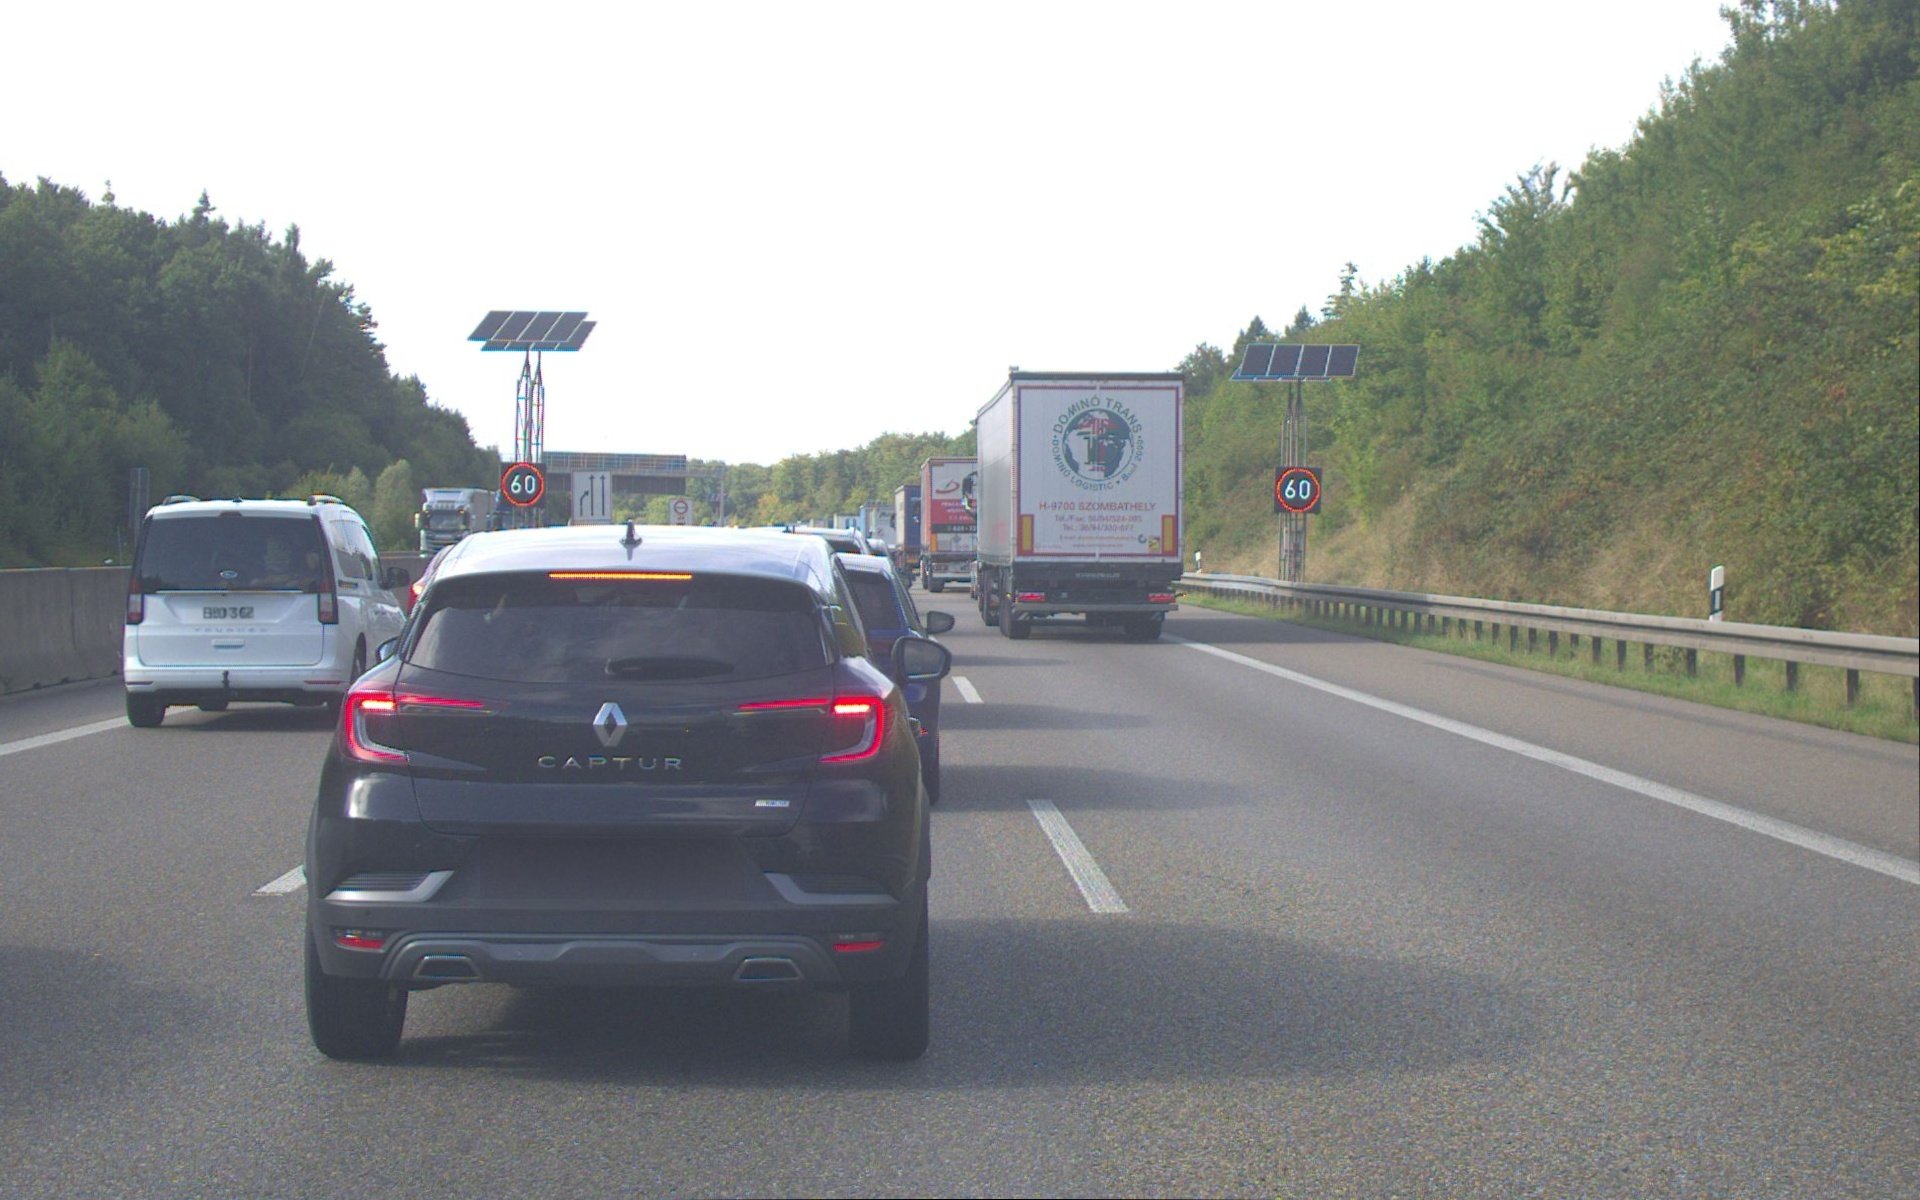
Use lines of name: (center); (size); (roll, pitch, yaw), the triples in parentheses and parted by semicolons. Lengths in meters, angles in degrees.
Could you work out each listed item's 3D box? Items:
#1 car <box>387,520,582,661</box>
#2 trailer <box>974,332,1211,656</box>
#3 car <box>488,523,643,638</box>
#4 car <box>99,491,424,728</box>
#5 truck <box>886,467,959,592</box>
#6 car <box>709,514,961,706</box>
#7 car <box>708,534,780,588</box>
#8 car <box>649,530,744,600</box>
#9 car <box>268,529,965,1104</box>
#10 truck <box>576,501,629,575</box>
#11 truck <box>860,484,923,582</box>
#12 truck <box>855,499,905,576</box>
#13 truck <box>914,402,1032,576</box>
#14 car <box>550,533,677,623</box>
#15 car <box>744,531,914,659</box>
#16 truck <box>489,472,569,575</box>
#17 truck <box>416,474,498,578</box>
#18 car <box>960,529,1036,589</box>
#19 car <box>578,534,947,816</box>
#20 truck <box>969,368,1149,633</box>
car: (-5.815, -0.128, 42.442); (1.855, 1.635, 3.926); (1, 1, 0)
trailer: (1.938, -1.658, 56.187); (3.002, 4.645, 13.291); (0, 1, -1)
car: (-6.125, -0.316, 53.738); (1.993, 1.716, 4.000); (1, 1, -1)
car: (-5.663, 0.053, 28.383); (1.911, 1.783, 4.418); (1, 1, -2)
truck: (-1.701, -3.189, 158.890); (3.166, 5.486, 12.738); (1, 1, 0)
car: (-1.021, 0.061, 29.398); (1.993, 1.509, 4.000); (1, 1, -1)
car: (-6.598, -1.214, 105.220); (1.993, 1.607, 4.000); (0, 1, -1)
car: (-6.254, -0.849, 81.860); (1.993, 1.607, 4.000); (0, 1, -1)
car: (-0.925, 0.552, 11.270); (1.804, 1.547, 4.000); (0, 1, 1)
truck: (-25.137, -4.350, 242.318); (2.890, 5.075, 10.081); (1, 1, -1)
truck: (-3.945, -3.861, 201.498); (3.166, 5.486, 12.737); (1, 1, 1)
truck: (-5.428, -4.230, 235.806); (3.166, 5.142, 12.738); (1, 1, 0)
truck: (0.339, -3.293, 106.521); (3.365, 5.027, 12.738); (1, 1, 0)
car: (-6.414, -0.420, 64.039); (1.993, 1.607, 4.000); (1, 1, -1)
car: (-1.584, -0.078, 42.851); (1.993, 1.509, 4.000); (1, 1, -1)
truck: (-21.195, -3.749, 169.596); (2.890, 4.917, 10.081); (1, 1, -1)
truck: (-25.539, -3.759, 174.970); (2.890, 5.075, 10.081); (1, 1, -1)
car: (0.982, -1.084, 90.589); (1.804, 1.527, 3.926); (1, 1, -2)
car: (-1.095, 0.388, 20.686); (1.993, 1.509, 4.000); (1, 1, -1)
truck: (1.756, -1.814, 63.564); (2.997, 4.651, 5.940); (0, 1, -1)
